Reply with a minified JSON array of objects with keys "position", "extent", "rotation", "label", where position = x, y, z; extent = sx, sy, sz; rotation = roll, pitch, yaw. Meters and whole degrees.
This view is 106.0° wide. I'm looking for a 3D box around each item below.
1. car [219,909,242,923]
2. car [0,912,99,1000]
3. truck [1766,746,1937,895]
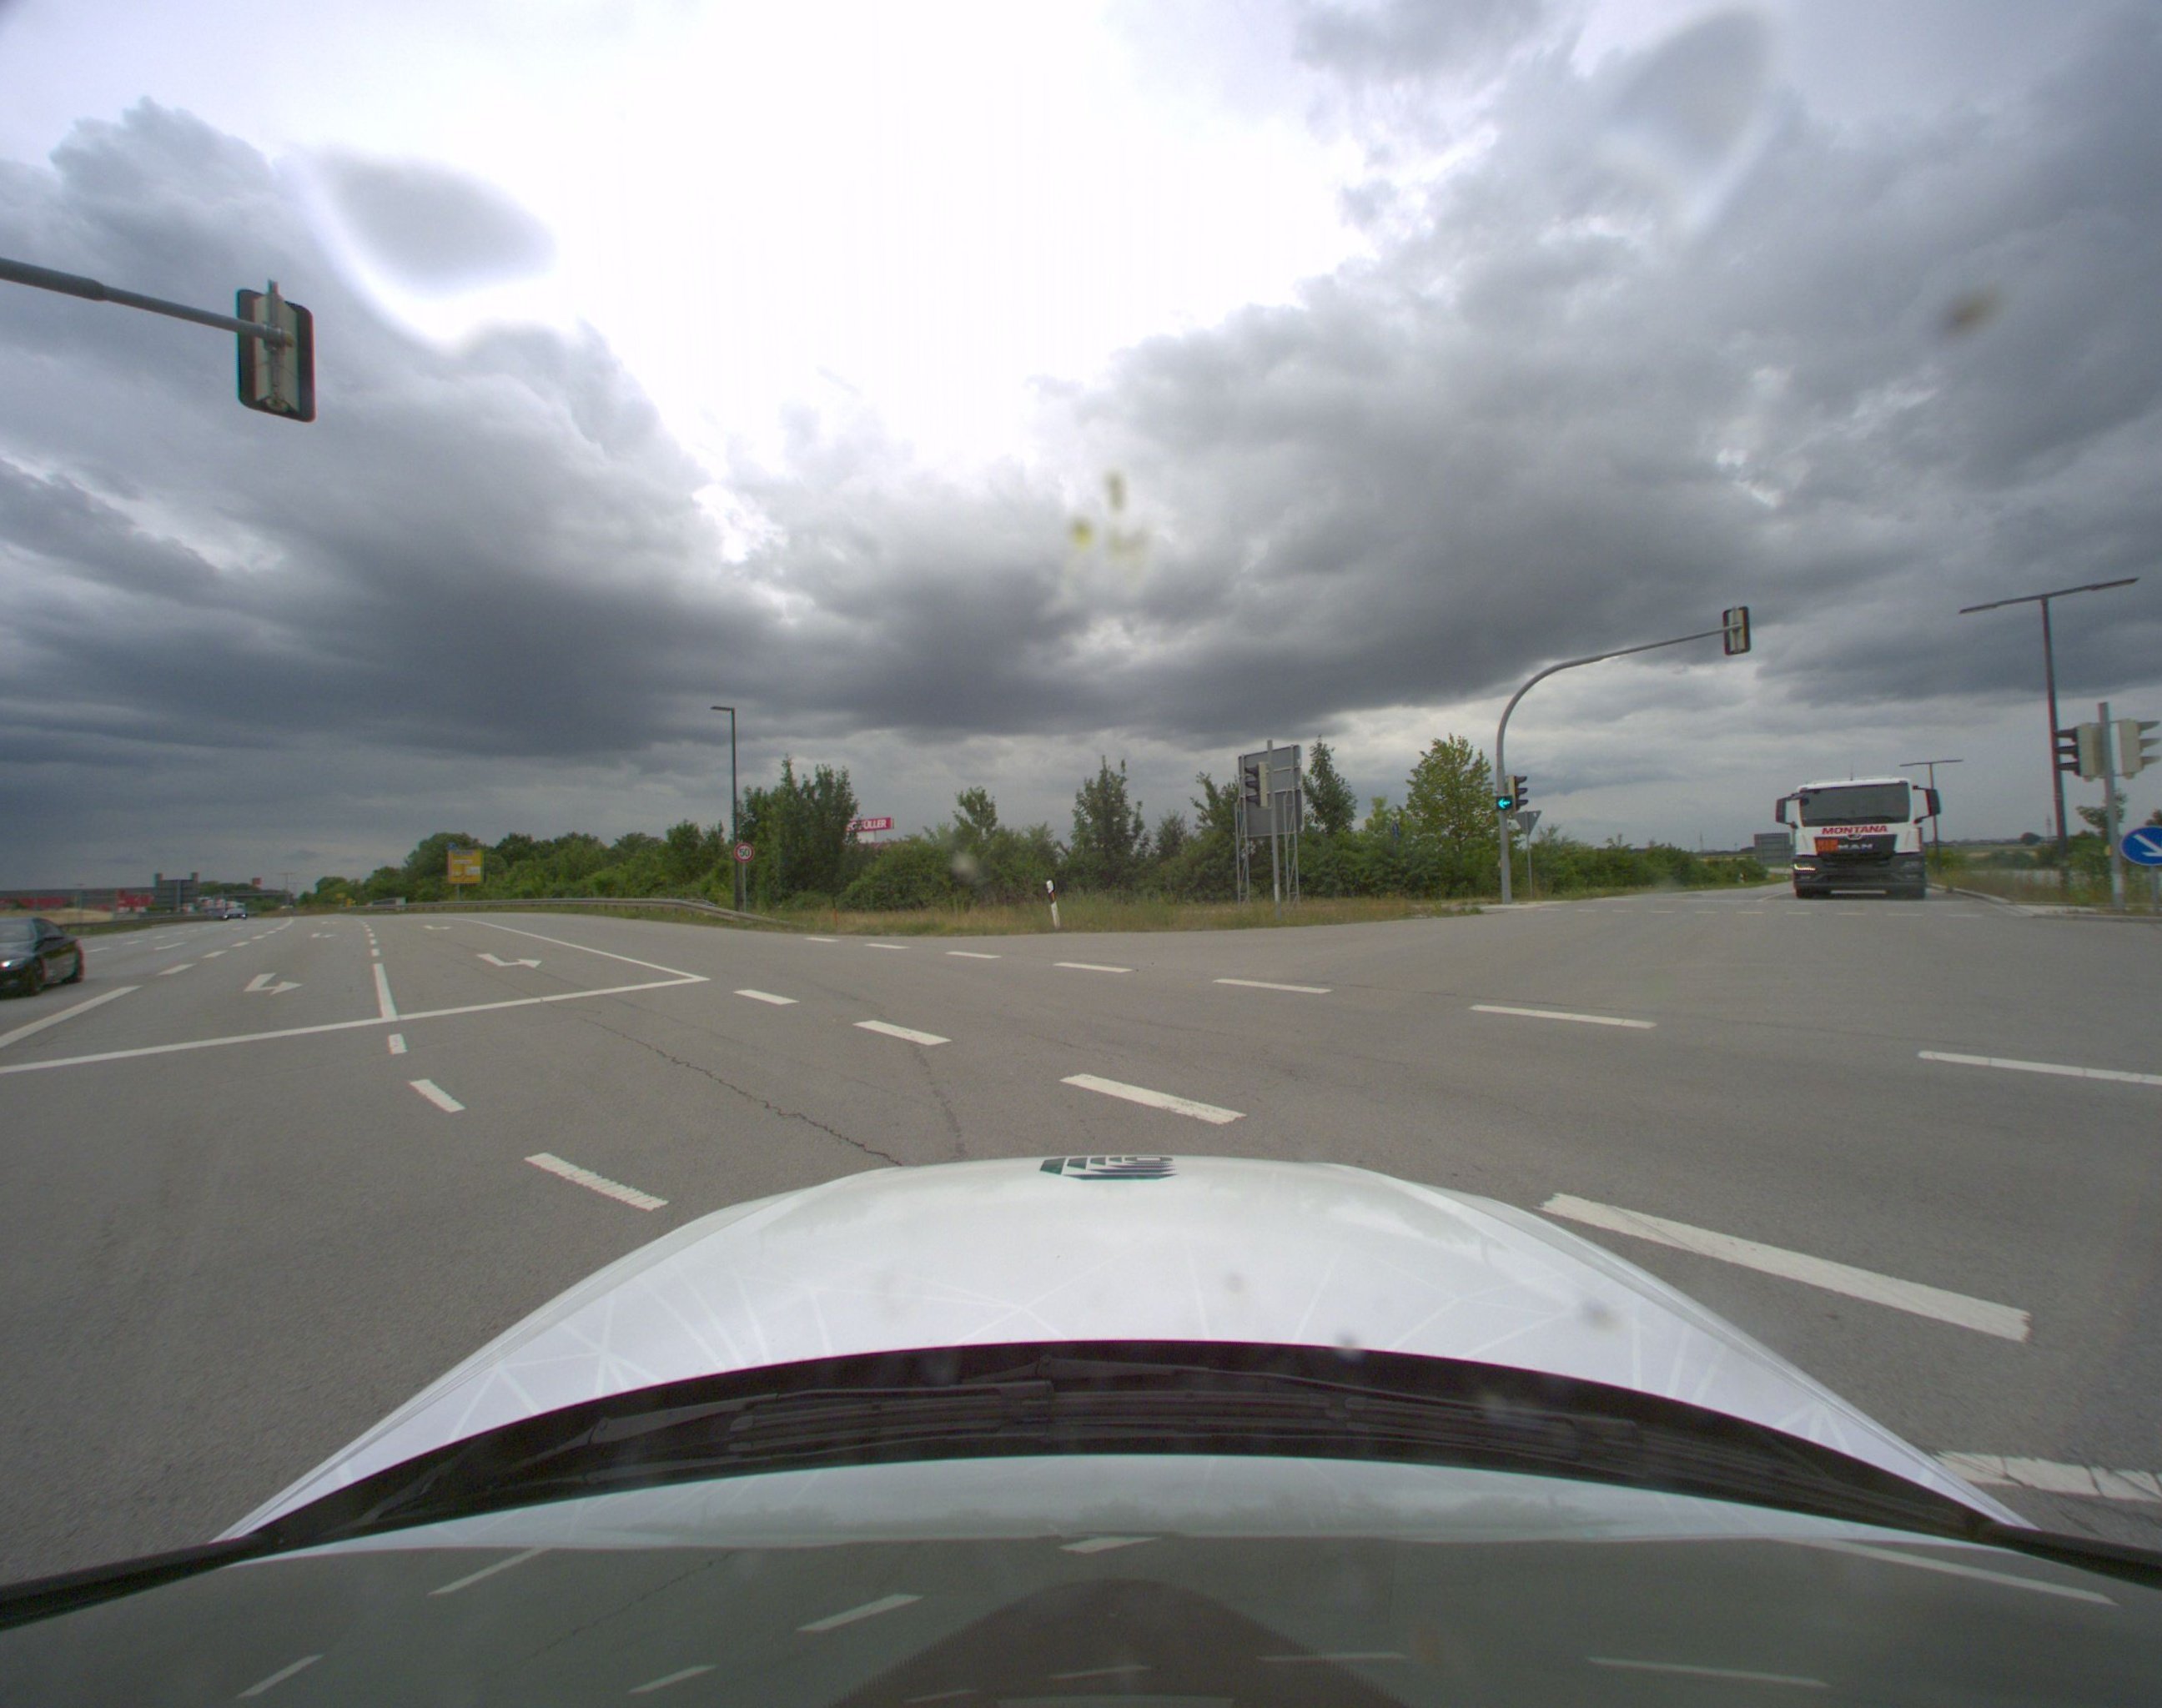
[{"position":[-106.118,7.705,101.645],"extent":[3.950,1.550,1.814],"rotation":[-4,-2,45],"label":"car"},{"position":[-19.659,1.825,14.780],"extent":[1.722,1.410,4.617],"rotation":[-2,-2,-43],"label":"car"},{"position":[21.662,-0.728,22.996],"extent":[2.842,3.408,8.702],"rotation":[-4,-3,44],"label":"truck"}]
